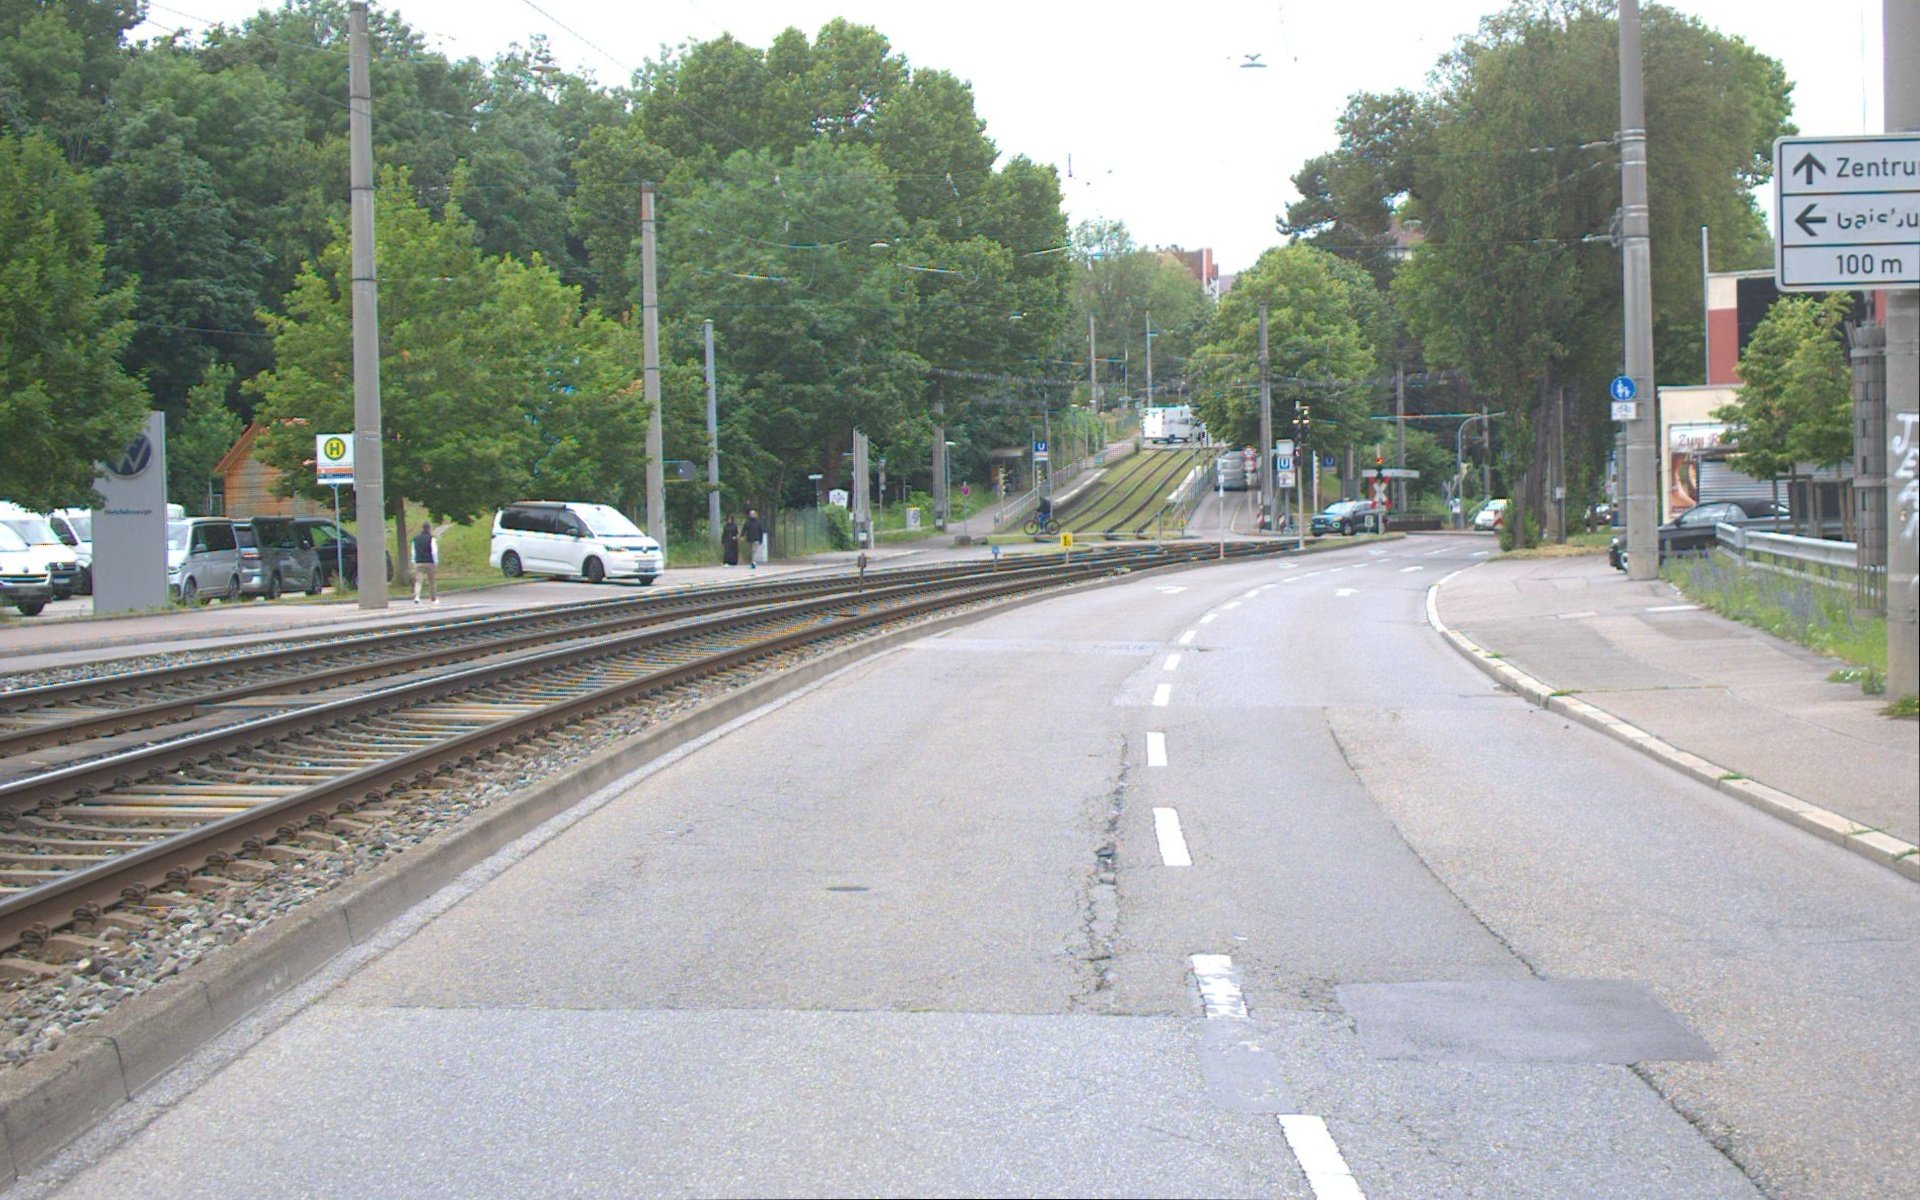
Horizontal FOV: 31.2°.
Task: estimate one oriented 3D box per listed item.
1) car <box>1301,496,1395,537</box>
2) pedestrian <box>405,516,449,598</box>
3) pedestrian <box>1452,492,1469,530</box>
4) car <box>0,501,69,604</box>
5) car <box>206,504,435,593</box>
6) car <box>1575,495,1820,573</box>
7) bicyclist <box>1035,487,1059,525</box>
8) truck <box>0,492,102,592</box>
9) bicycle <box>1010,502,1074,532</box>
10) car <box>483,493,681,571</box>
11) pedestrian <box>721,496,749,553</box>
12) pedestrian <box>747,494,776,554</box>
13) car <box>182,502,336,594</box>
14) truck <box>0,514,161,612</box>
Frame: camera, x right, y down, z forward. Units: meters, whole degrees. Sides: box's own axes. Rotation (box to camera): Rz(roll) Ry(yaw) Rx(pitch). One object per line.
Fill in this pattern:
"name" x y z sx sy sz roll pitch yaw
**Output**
"car" 17.139 -3.657 151.824 4.243 1.527 1.691 2 -4 -41
"pedestrian" -10.951 -0.895 70.645 0.718 1.650 1.042 1 2 0
"pedestrian" 24.473 -4.364 168.055 0.769 1.846 0.910 -1 1 11
"car" -20.561 -0.955 70.113 4.725 2.006 1.996 0 2 35
"car" -15.683 -1.280 84.414 5.055 2.006 2.167 -2 2 -29
"car" 14.133 -1.255 65.948 4.229 1.438 1.760 0 2 36
"bicyclist" 4.202 -4.560 166.475 1.048 1.843 0.823 -1 2 9
"truck" -25.896 -1.524 91.735 5.770 2.579 2.464 0 2 33
"bicycle" 3.971 -4.023 166.537 2.987 1.338 0.826 -1 1 9
"car" -9.612 -1.737 87.126 5.069 1.881 2.161 3 2 42
"pedestrian" -6.840 -2.294 104.473 0.628 1.707 0.855 1 2 10
"pedestrian" -6.028 -2.317 104.324 0.676 1.807 0.855 1 2 10
"car" -16.240 -1.248 79.948 1.994 2.006 5.129 -1 2 6
"truck" -24.662 -1.007 94.243 5.065 2.579 2.464 0 2 33
